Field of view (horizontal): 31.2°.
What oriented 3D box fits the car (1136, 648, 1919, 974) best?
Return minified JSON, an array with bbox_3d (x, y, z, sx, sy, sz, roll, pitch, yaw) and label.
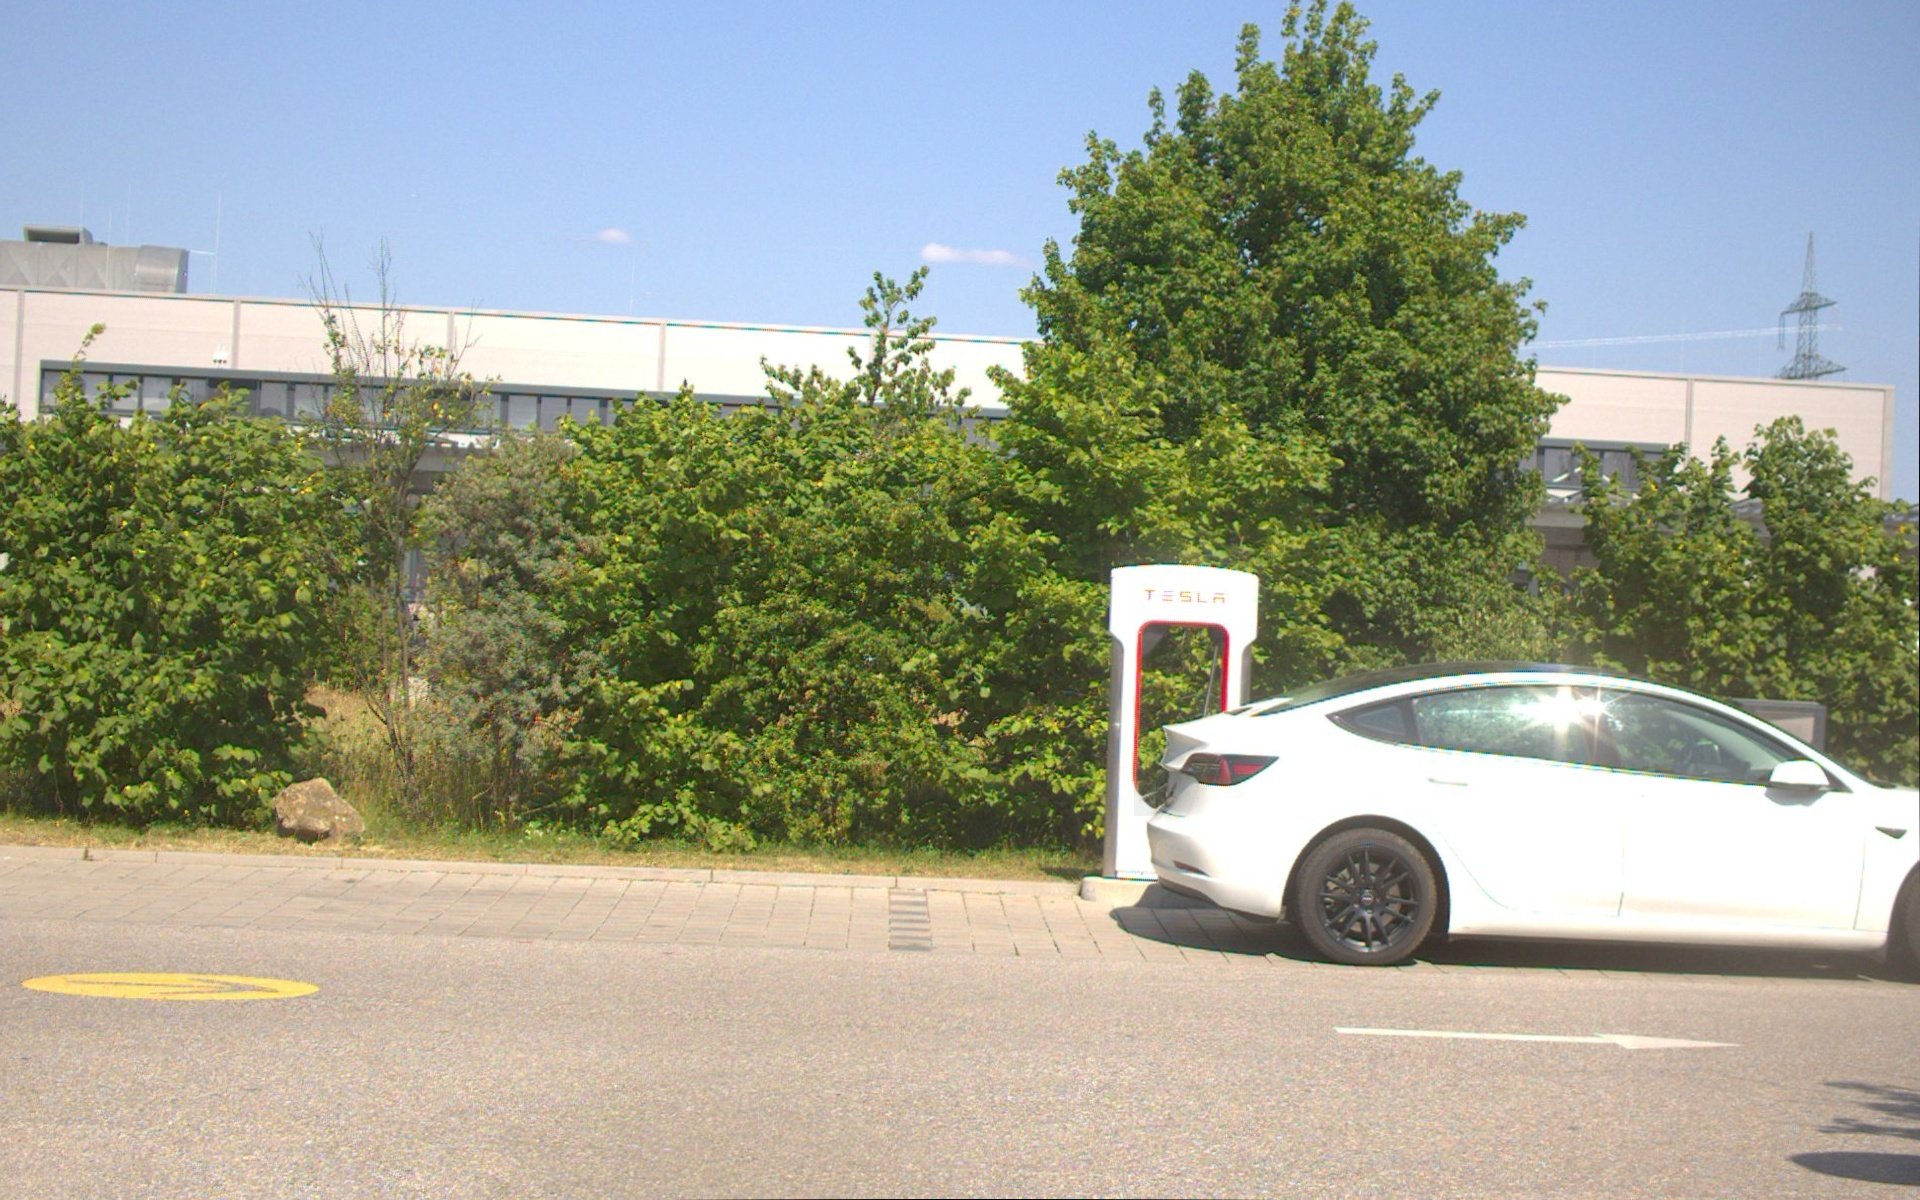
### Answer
[{"bbox_3d":[3.180,1.016,16.907,4.434,1.373,1.822,2,0,-2],"label":"car"}]
